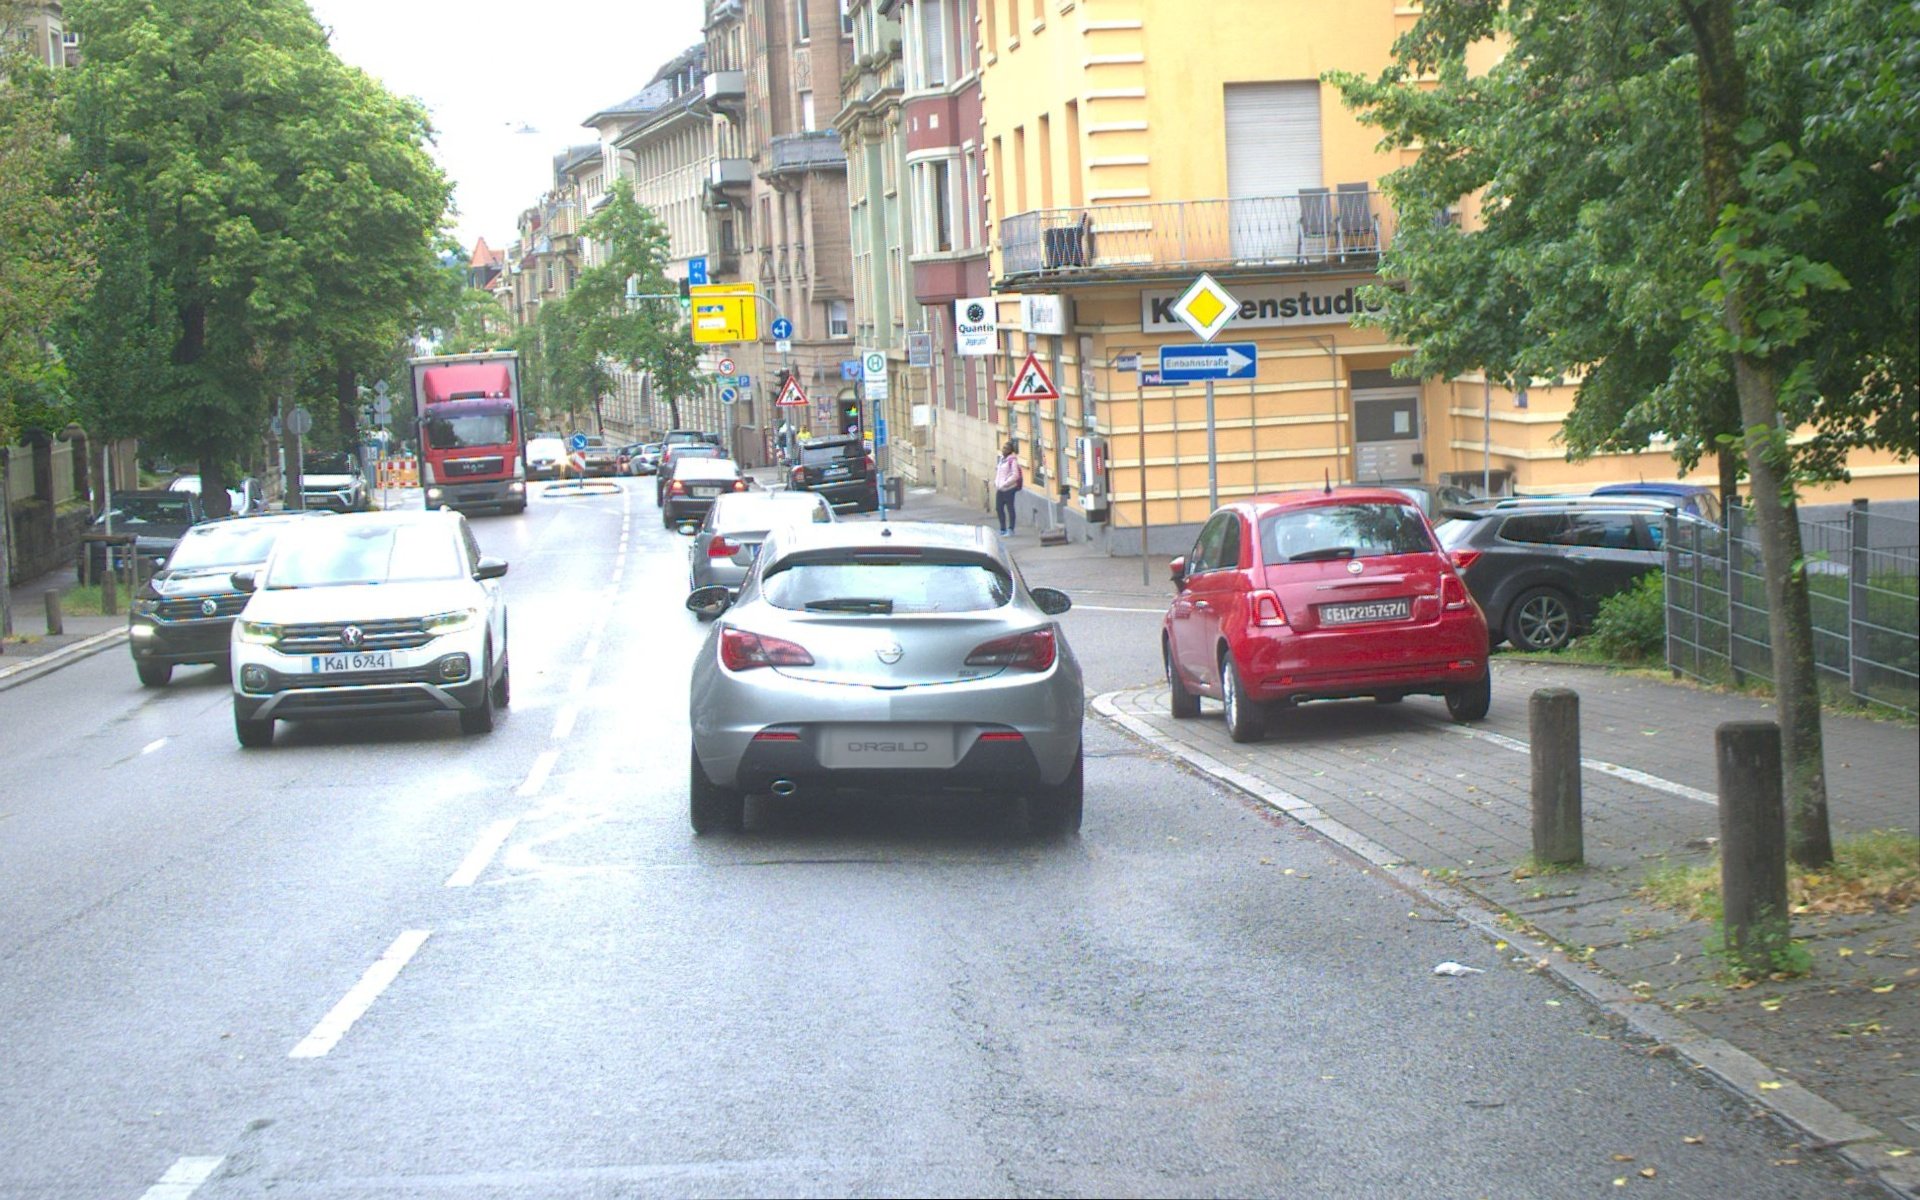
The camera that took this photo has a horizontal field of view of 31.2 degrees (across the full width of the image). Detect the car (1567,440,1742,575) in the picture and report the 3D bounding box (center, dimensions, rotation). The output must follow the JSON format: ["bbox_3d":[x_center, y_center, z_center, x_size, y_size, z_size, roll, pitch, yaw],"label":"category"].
[{"bbox_3d":[8.346,-1.141,41.118,1.777,1.424,3.784,0,4,16],"label":"car"}]

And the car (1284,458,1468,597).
[{"bbox_3d":[4.819,-0.865,39.442,1.777,1.424,3.784,0,3,12],"label":"car"}]

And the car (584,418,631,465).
[{"bbox_3d":[-14.943,-6.711,145.638,1.781,1.848,4.001,-2,1,-8],"label":"car"}]

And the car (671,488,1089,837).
[{"bbox_3d":[-0.438,0.211,17.254,1.814,1.424,4.001,-2,3,-2],"label":"car"}]

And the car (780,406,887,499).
[{"bbox_3d":[-2.737,-3.134,73.599,1.993,1.683,4.001,-8,2,-3],"label":"car"}]

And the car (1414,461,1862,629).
[{"bbox_3d":[6.374,-0.512,32.562,3.772,1.425,1.782,2,0,-5],"label":"car"}]

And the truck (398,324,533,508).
[{"bbox_3d":[-12.015,-4.606,84.311,2.788,4.117,10.856,-2,4,-6],"label":"truck"}]

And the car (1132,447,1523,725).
[{"bbox_3d":[2.309,-0.119,22.634,1.815,1.462,4.001,-7,1,-3],"label":"car"}]

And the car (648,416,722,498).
[{"bbox_3d":[-6.532,-3.401,81.384,1.640,1.683,3.718,-2,6,-5],"label":"car"}]

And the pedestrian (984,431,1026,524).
[{"bbox_3d":[0.746,-2.026,56.936,0.613,1.491,0.553,-2,4,-1],"label":"pedestrian"}]

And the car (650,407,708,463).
[{"bbox_3d":[-8.399,-4.922,102.687,1.640,1.531,3.717,-2,2,-5],"label":"car"}]

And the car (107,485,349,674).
[{"bbox_3d":[-7.030,-0.243,33.292,1.622,1.645,3.143,-4,2,-1],"label":"car"}]

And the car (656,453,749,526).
[{"bbox_3d":[-5.179,-2.232,68.806,1.767,1.410,3.718,0,2,-6],"label":"car"}]

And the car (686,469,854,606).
[{"bbox_3d":[-2.124,-0.735,38.587,1.776,1.425,3.786,-1,2,-3],"label":"car"}]

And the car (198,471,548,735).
[{"bbox_3d":[-4.142,-0.047,24.873,1.823,1.645,4.001,-4,2,-1],"label":"car"}]
